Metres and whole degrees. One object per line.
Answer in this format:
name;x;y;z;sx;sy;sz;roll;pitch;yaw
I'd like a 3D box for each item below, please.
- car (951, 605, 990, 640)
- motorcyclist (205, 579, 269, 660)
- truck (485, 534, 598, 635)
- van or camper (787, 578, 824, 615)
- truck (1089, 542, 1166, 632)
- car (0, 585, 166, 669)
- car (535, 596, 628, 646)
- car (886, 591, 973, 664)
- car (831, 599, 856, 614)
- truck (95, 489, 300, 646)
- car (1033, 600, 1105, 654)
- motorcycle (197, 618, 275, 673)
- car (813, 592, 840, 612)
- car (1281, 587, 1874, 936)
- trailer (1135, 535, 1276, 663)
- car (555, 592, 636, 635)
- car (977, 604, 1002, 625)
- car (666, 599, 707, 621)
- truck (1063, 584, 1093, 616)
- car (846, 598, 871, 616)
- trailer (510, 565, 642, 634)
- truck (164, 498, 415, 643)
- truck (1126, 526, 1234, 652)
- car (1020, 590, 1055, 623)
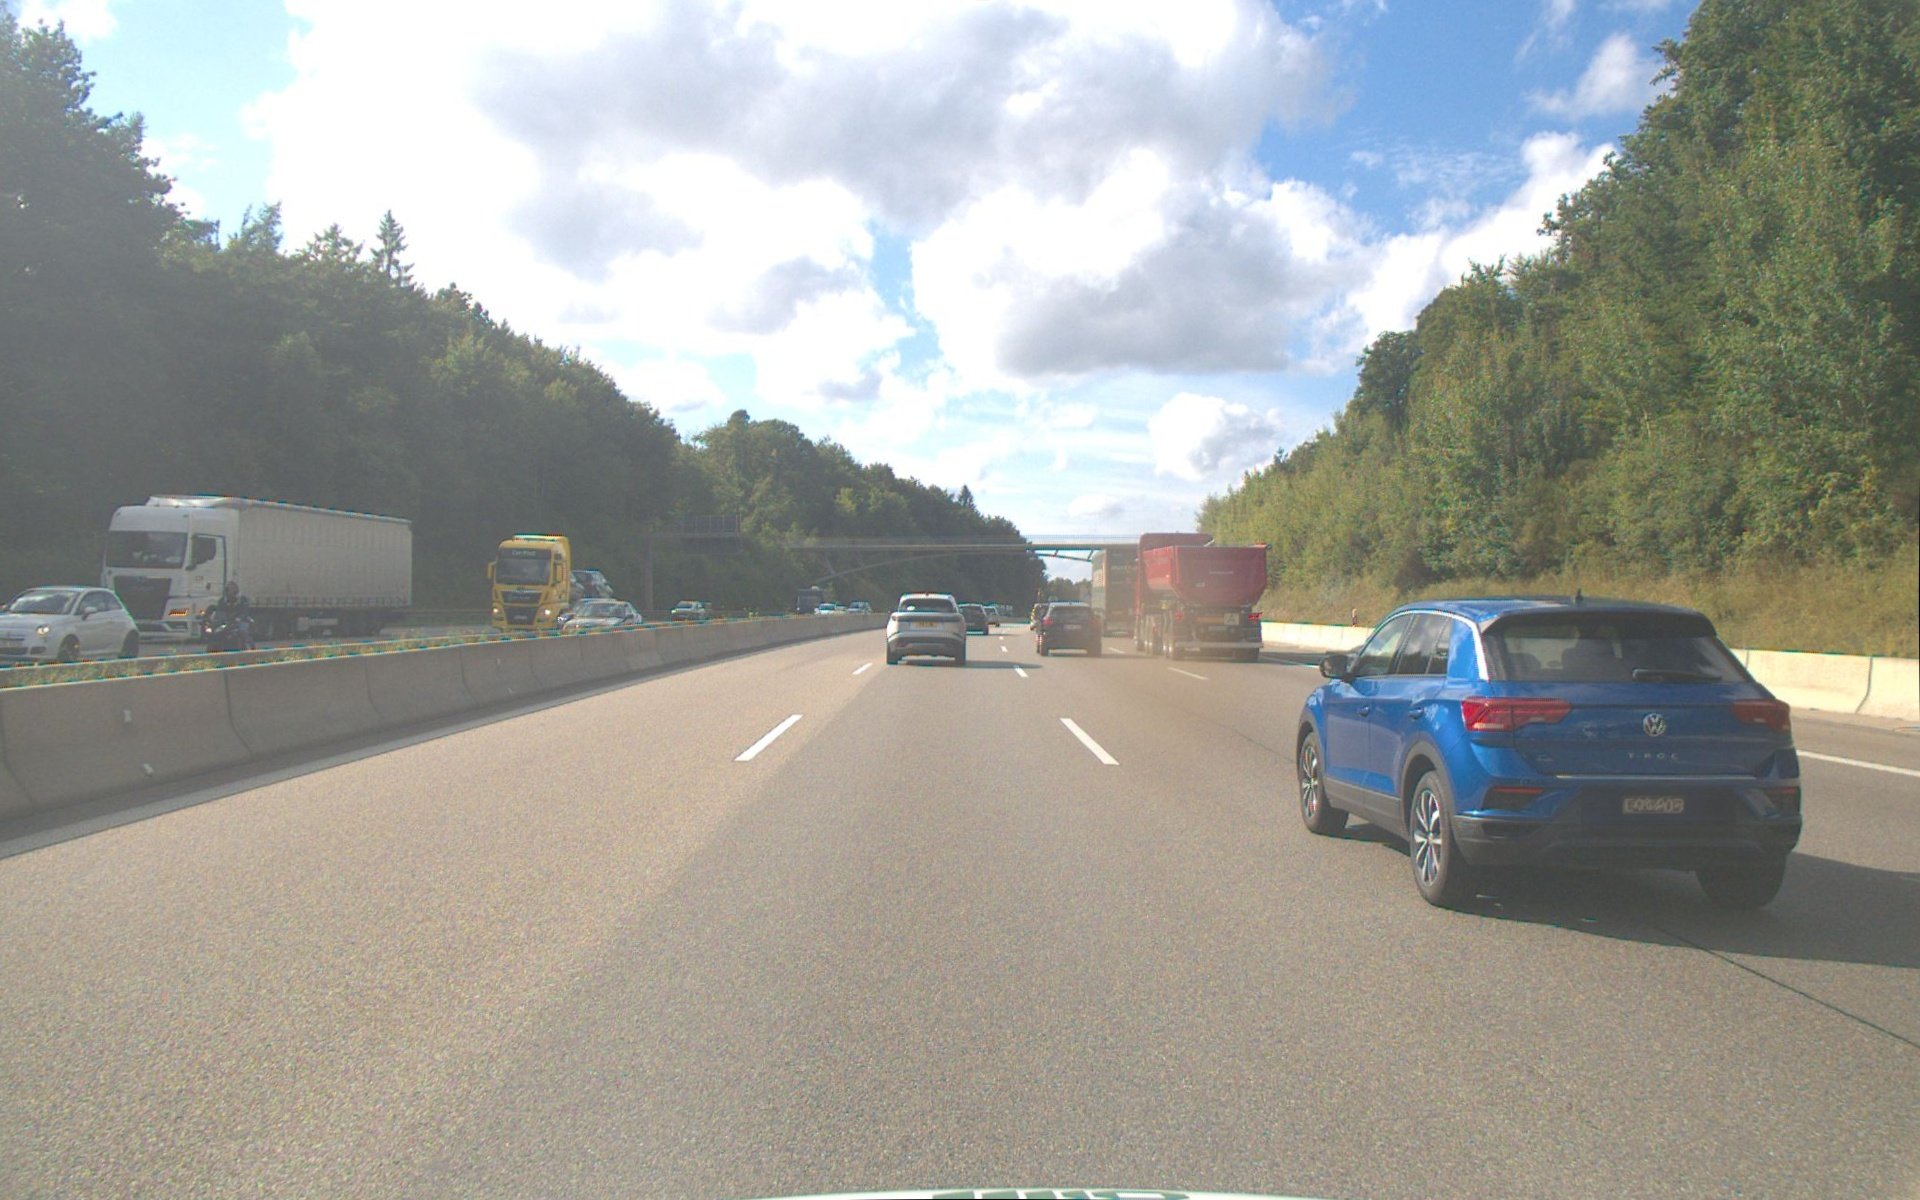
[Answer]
car;0.528;1.049;79.755;1.785;1.573;4.000;2;0;0
motorcyclist;-13.699;0.370;31.360;0.739;1.502;1.075;1;0;-1
truck;-16.990;-0.595;67.594;2.719;3.877;7.134;1;0;0
van or camper;-13.925;-0.325;149.822;2.506;3.180;7.335;1;0;1
truck;7.899;-0.605;79.317;3.053;4.003;10.414;1;0;3
car;-17.422;0.489;32.271;1.809;1.524;4.129;1;0;0
car;-10.730;0.564;47.093;1.649;1.330;4.198;1;0;0
car;-0.771;0.624;40.721;1.966;1.644;5.299;1;0;-2
car;-12.271;0.678;174.762;1.882;1.567;4.705;1;0;4
truck;-21.573;-0.877;47.238;2.651;4.139;6.599;1;0;1
car;3.137;0.754;48.186;1.785;1.483;3.999;1;0;-1
motorcycle;-13.698;0.839;31.353;0.472;0.973;2.251;1;0;0
car;-10.677;0.187;132.490;1.777;1.562;4.316;1;0;1
car;3.218;0.723;9.681;1.737;1.557;4.457;1;0;-1
trailer;6.891;-0.051;47.801;2.654;3.288;9.732;1;0;0
car;-13.503;0.466;61.563;1.953;1.512;4.982;1;0;-1
car;2.117;1.023;119.865;1.785;1.483;4.001;1;0;1
car;-18.575;0.679;112.392;1.775;1.414;4.938;1;0;2
truck;11.670;0.002;163.158;2.784;2.976;8.390;1;0;5
car;-9.180;0.604;149.403;1.883;1.567;4.703;1;0;1
trailer;-16.989;-0.041;74.270;2.719;2.767;13.312;1;0;0
truck;-21.427;-0.856;54.106;2.651;4.139;13.089;1;0;1
truck;6.913;-0.344;52.715;2.654;3.784;5.817;1;0;0
car;4.573;0.353;97.779;1.855;1.889;4.100;1;0;0
